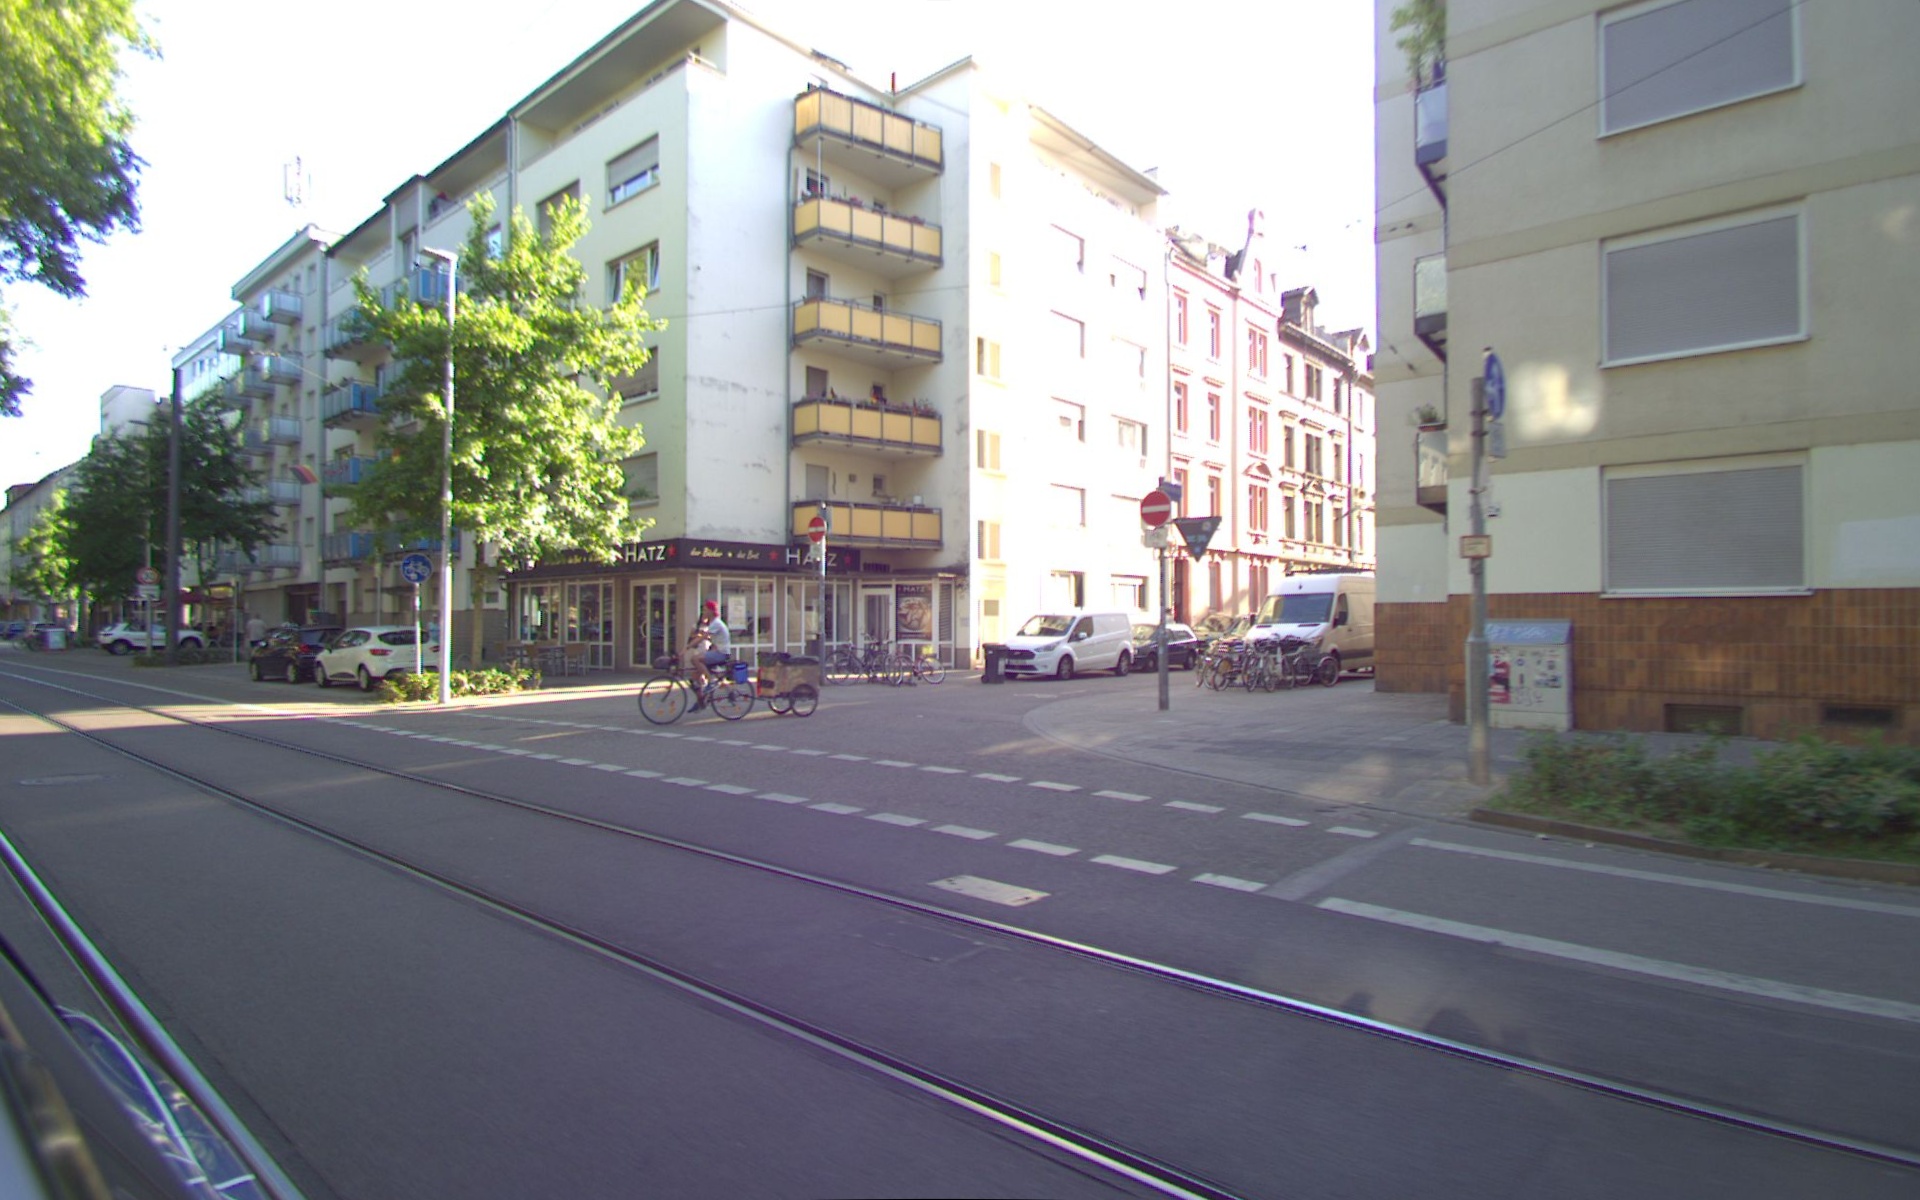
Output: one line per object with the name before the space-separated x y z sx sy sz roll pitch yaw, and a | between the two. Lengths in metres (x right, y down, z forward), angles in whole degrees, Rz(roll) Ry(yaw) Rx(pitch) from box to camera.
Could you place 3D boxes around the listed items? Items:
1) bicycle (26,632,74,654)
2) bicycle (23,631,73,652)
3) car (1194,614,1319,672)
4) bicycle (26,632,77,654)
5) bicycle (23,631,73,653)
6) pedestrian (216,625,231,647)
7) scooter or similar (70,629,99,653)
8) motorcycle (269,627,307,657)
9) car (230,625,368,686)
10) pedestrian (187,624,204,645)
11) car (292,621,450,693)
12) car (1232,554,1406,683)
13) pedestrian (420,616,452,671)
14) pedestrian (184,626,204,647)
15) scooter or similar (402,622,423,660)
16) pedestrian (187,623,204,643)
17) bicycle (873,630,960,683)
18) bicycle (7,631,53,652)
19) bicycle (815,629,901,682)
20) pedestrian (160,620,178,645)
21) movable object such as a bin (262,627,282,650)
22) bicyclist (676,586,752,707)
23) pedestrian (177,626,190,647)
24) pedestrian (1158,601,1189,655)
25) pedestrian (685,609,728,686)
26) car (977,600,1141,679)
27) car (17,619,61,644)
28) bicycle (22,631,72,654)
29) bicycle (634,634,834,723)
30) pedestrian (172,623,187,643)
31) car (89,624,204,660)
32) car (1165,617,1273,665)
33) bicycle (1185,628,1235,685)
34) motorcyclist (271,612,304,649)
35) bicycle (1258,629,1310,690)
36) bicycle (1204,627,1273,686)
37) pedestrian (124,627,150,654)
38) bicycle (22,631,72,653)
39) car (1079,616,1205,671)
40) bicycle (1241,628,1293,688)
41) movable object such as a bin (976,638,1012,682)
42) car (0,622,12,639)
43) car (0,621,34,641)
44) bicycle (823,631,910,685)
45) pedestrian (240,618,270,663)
bicycle | -44.946 2.130 49.985 0.657 1.015 1.676 -1 0 36
bicycle | -47.399 2.157 52.606 0.657 1.015 1.813 -1 0 36
car | 8.527 1.176 28.935 2.028 1.511 3.906 -1 -2 40
bicycle | -45.815 2.140 51.047 0.657 1.015 1.813 -1 0 36
bicycle | -46.666 2.149 51.793 0.657 1.015 1.813 -1 0 36
pedestrian | -41.448 2.021 56.965 0.623 1.207 0.556 -1 -2 40
scooter or similar | -46.170 2.148 53.374 0.498 1.185 1.069 -1 0 40
motorcycle | -26.841 1.677 40.407 1.915 1.173 0.840 -1 -2 43
car | -17.732 1.421 27.110 3.990 1.475 1.699 -1 0 35
pedestrian | -43.127 1.953 57.104 0.558 1.207 0.511 0 -2 12
car | -14.120 1.290 24.171 4.370 1.475 1.697 -1 2 38
car | 8.835 0.449 24.537 2.168 2.744 5.750 -1 -2 39
pedestrian | -16.505 1.359 31.865 0.748 1.704 0.657 -1 -1 40
pedestrian | -43.719 2.079 57.740 0.684 1.207 0.601 0 -2 6
scooter or similar | -19.414 1.451 35.881 0.370 1.299 1.238 3 -3 -41
pedestrian | -45.342 1.940 60.023 0.507 1.207 0.562 0 -2 6
bicycle | -0.990 1.292 23.130 1.917 1.165 0.574 2 -3 -29
bicycle | -48.866 2.172 53.177 0.657 1.015 1.676 -1 0 36
bicycle | -2.338 1.282 23.270 1.918 1.165 0.573 3 -3 -35
pedestrian | -50.719 2.069 64.867 0.767 1.568 0.718 -1 -2 36
movable object such as a bin | -31.578 1.753 46.442 0.574 1.063 0.665 -2 -2 43
bicyclist | -3.646 0.659 14.973 0.859 1.717 0.910 0 -1 -30
pedestrian | -44.883 2.097 58.504 0.564 1.207 0.506 -2 -2 43
pedestrian | 7.318 0.949 34.665 0.765 1.814 0.824 -1 -1 37
pedestrian | -5.766 1.066 23.010 0.748 1.704 0.657 -1 -1 40
car | 2.667 0.971 26.191 2.035 1.836 4.829 -1 -1 37
car | -67.707 2.303 74.377 4.355 1.663 1.859 -1 0 40
bicycle | -46.467 2.147 51.534 0.657 1.072 1.813 -1 0 36
bicycle | -3.349 1.126 15.116 2.756 1.165 0.924 0 -1 -30
pedestrian | -46.061 1.938 59.727 0.560 1.207 0.509 -1 -2 25
car | -37.718 1.894 46.974 1.852 1.486 3.968 -1 0 43
car | 8.649 1.313 33.605 2.028 1.511 3.906 -1 -2 40
bicycle | 5.370 1.207 21.831 0.576 1.165 1.604 1 -2 -3
motorcyclist | -26.891 1.209 40.445 1.016 1.451 0.864 -1 -2 43
bicycle | 6.527 1.179 20.327 0.582 1.165 1.735 -1 -3 32
bicycle | 5.798 1.169 21.010 1.728 1.165 0.585 3 -3 -45
pedestrian | -40.156 1.955 49.376 0.744 1.307 0.708 -1 -2 27
bicycle | -47.128 2.154 52.245 0.657 1.015 1.813 -1 0 36
car | 5.458 1.237 30.029 2.027 1.511 3.906 -1 -2 39
bicycle | 6.247 1.171 20.552 0.582 1.165 1.735 -1 -3 32
movable object such as a bin | 0.794 1.389 23.500 0.638 0.980 0.589 -1 -1 30
car | -85.401 2.724 89.565 4.280 1.475 1.776 -1 -2 42
car | -76.875 2.513 82.269 4.387 1.556 1.935 -1 -2 42
bicycle | -2.097 1.311 22.930 1.918 1.165 0.573 3 -3 -35
pedestrian | -26.929 1.532 38.642 0.794 1.704 0.756 -1 -1 40
